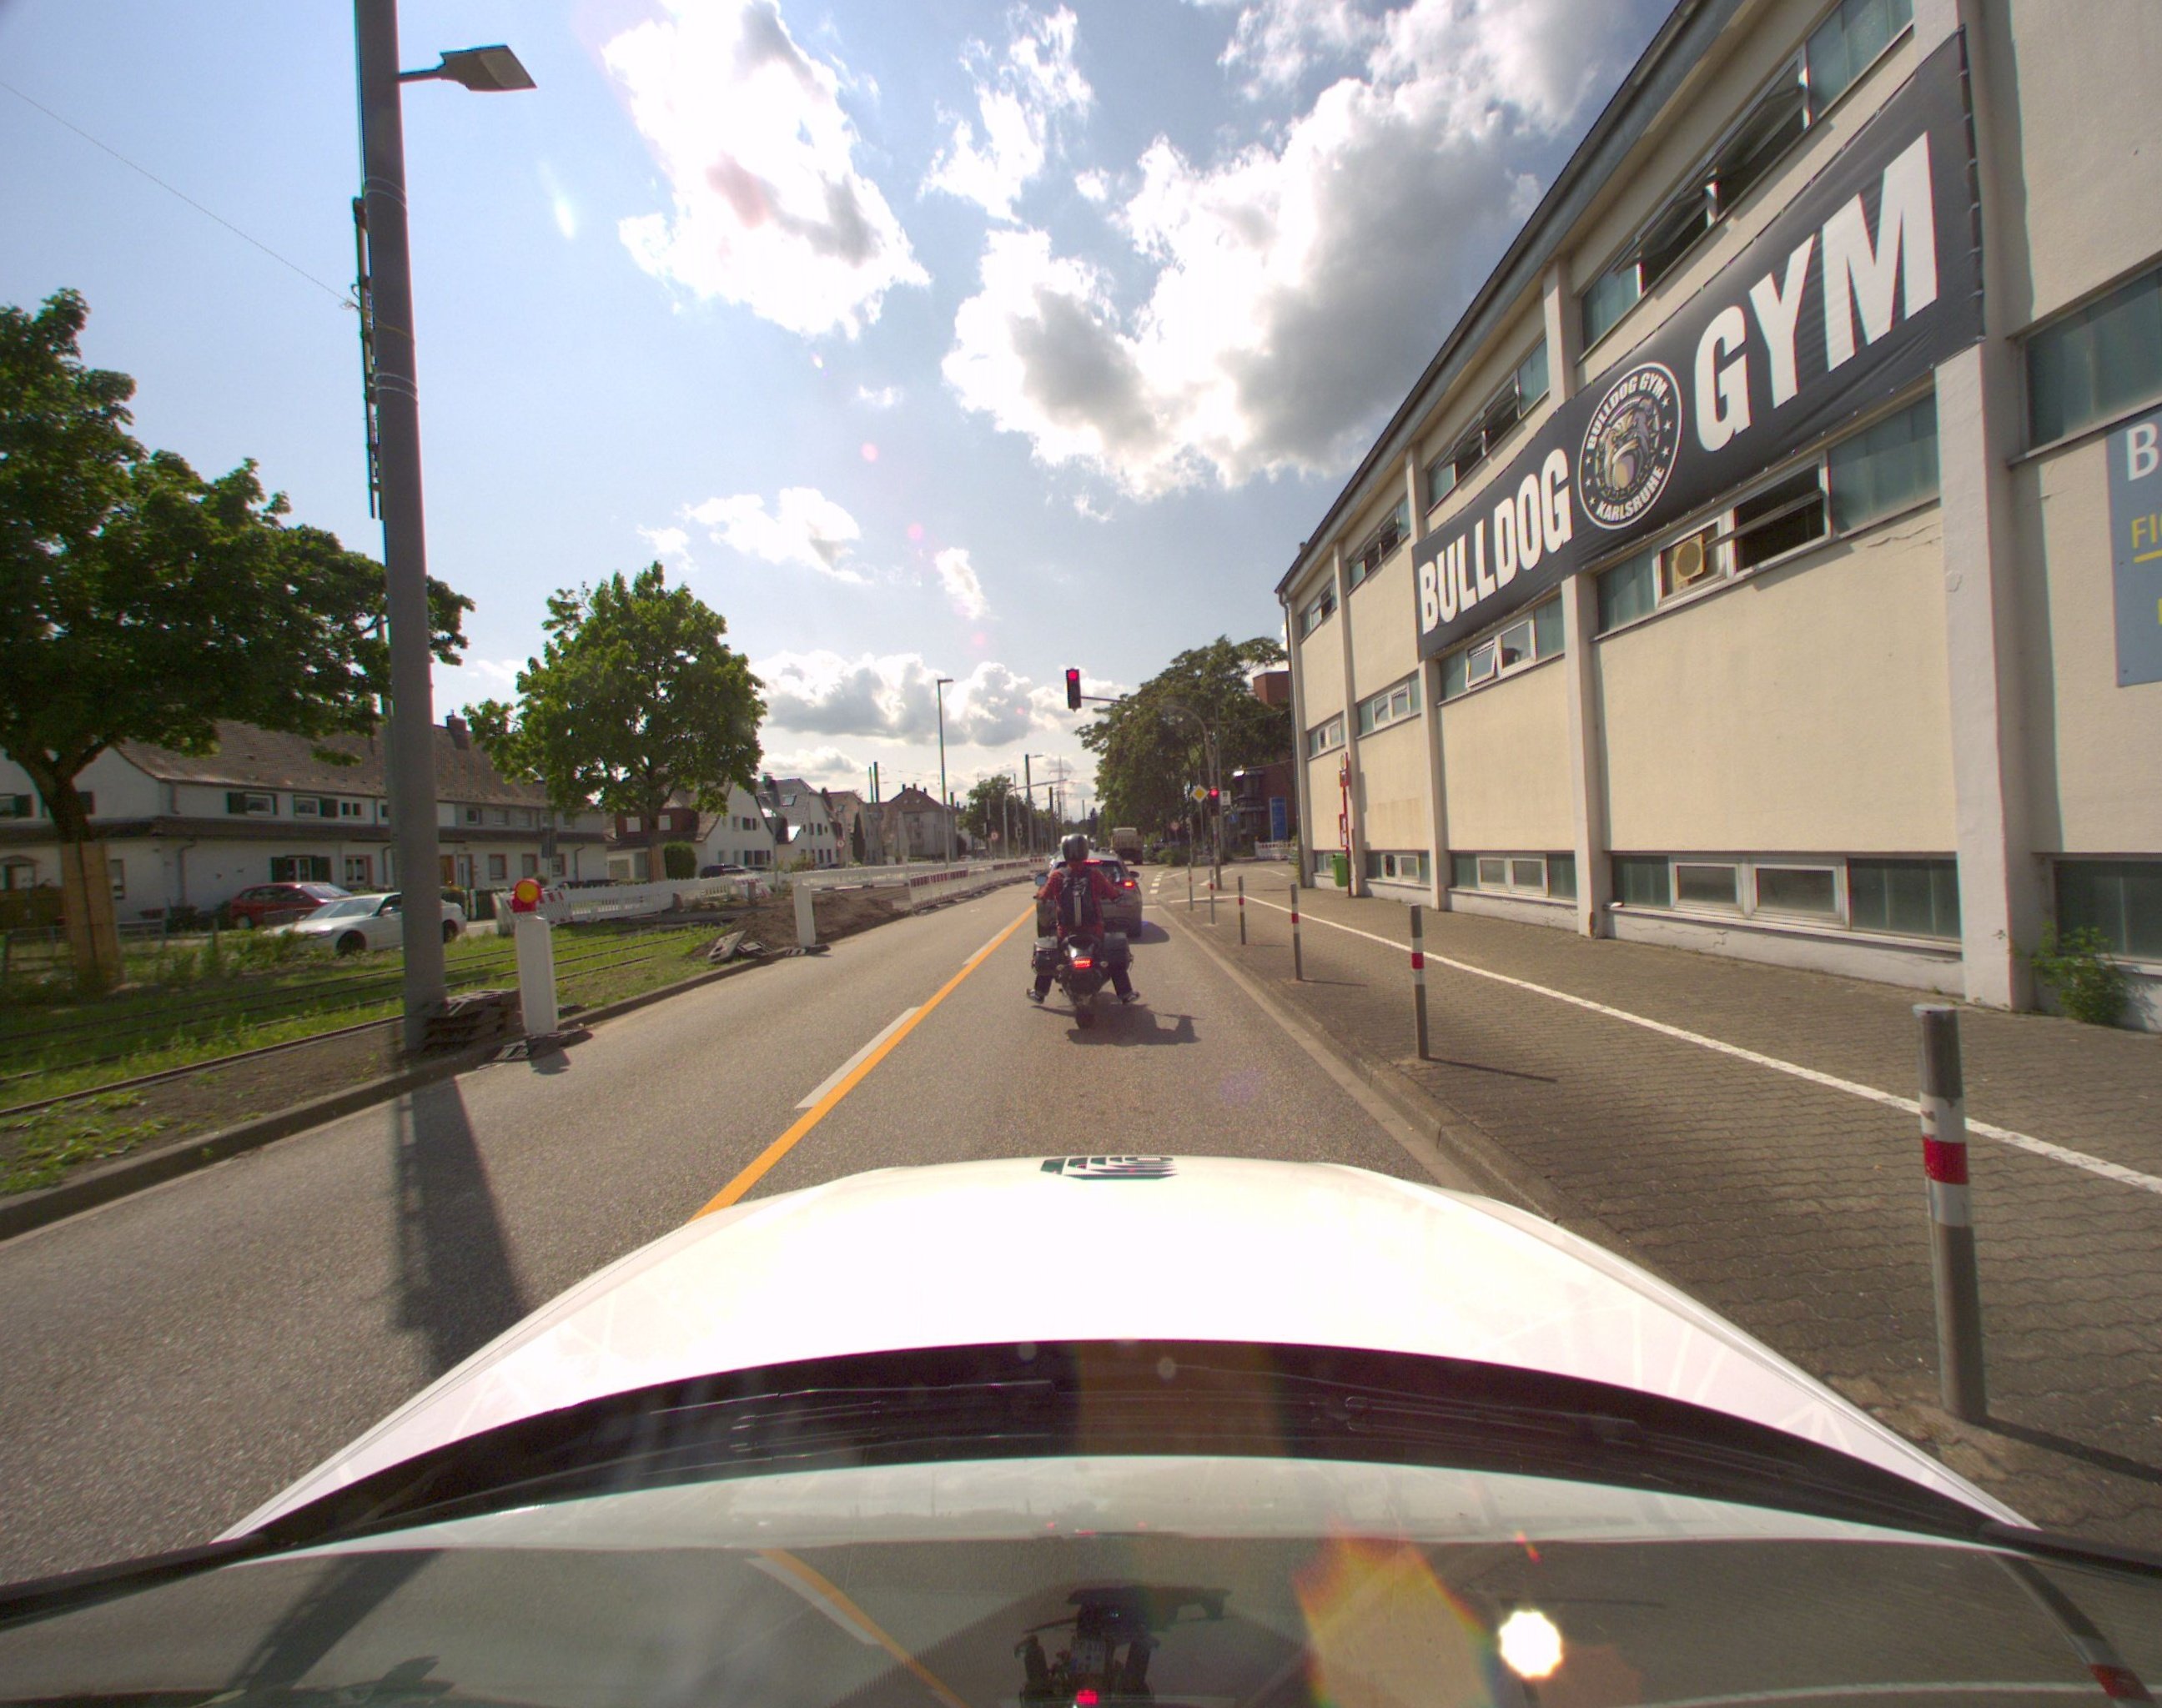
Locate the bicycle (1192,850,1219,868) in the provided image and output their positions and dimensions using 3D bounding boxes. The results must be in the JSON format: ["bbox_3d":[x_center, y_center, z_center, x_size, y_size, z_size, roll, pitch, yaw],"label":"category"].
[{"bbox_3d":[8.163,0.340,53.516,1.699,1.172,0.438,-1,-1,6],"label":"bicycle"}]

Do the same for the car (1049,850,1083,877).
[{"bbox_3d":[-0.823,0.536,47.753,1.738,1.437,4.084,-4,0,1],"label":"car"}]

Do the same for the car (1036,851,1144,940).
[{"bbox_3d":[0.045,0.663,15.164,1.727,1.403,4.082,-1,0,-3],"label":"car"}]

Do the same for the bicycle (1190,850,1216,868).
[{"bbox_3d":[8.207,0.346,54.754,1.699,1.172,0.438,-1,-1,6],"label":"bicycle"}]

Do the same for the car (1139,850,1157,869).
[{"bbox_3d":[7.222,0.605,87.886,1.751,2.014,4.002,-1,0,2],"label":"car"}]

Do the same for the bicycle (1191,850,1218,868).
[{"bbox_3d":[8.175,0.342,54.027,1.699,1.172,0.438,-1,-1,6],"label":"bicycle"}]

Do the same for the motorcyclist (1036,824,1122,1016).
[{"bbox_3d":[-0.011,0.559,7.207,0.695,1.604,0.692,-1,-1,1],"label":"motorcyclist"}]

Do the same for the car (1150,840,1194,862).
[{"bbox_3d":[8.241,-0.306,73.622,4.023,1.926,1.781,-1,-1,-44],"label":"car"}]

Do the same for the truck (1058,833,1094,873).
[{"bbox_3d":[-0.298,-0.141,57.428,2.085,2.476,5.199,-4,1,2],"label":"truck"}]

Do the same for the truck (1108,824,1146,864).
[{"bbox_3d":[3.922,-0.792,68.876,2.954,3.173,7.772,-1,0,4],"label":"truck"}]

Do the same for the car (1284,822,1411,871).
[{"bbox_3d":[10.871,-0.309,33.572,4.676,1.712,1.913,-3,1,9],"label":"car"}]

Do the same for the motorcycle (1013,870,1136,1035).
[{"bbox_3d":[-0.017,0.795,7.576,0.939,1.200,2.473,-1,0,1],"label":"motorcycle"}]

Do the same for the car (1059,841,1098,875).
[{"bbox_3d":[-0.089,0.172,39.846,1.638,1.498,4.272,-2,1,3],"label":"car"}]

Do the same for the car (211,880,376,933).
[{"bbox_3d":[-27.437,1.798,28.463,3.973,1.509,1.726,-3,0,0],"label":"car"}]

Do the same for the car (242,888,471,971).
[{"bbox_3d":[-16.167,1.607,18.516,1.538,1.376,4.245,-3,0,-4],"label":"car"}]

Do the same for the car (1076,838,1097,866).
[{"bbox_3d":[0.474,-0.145,65.456,1.583,2.143,3.628,-1,0,2],"label":"car"}]
